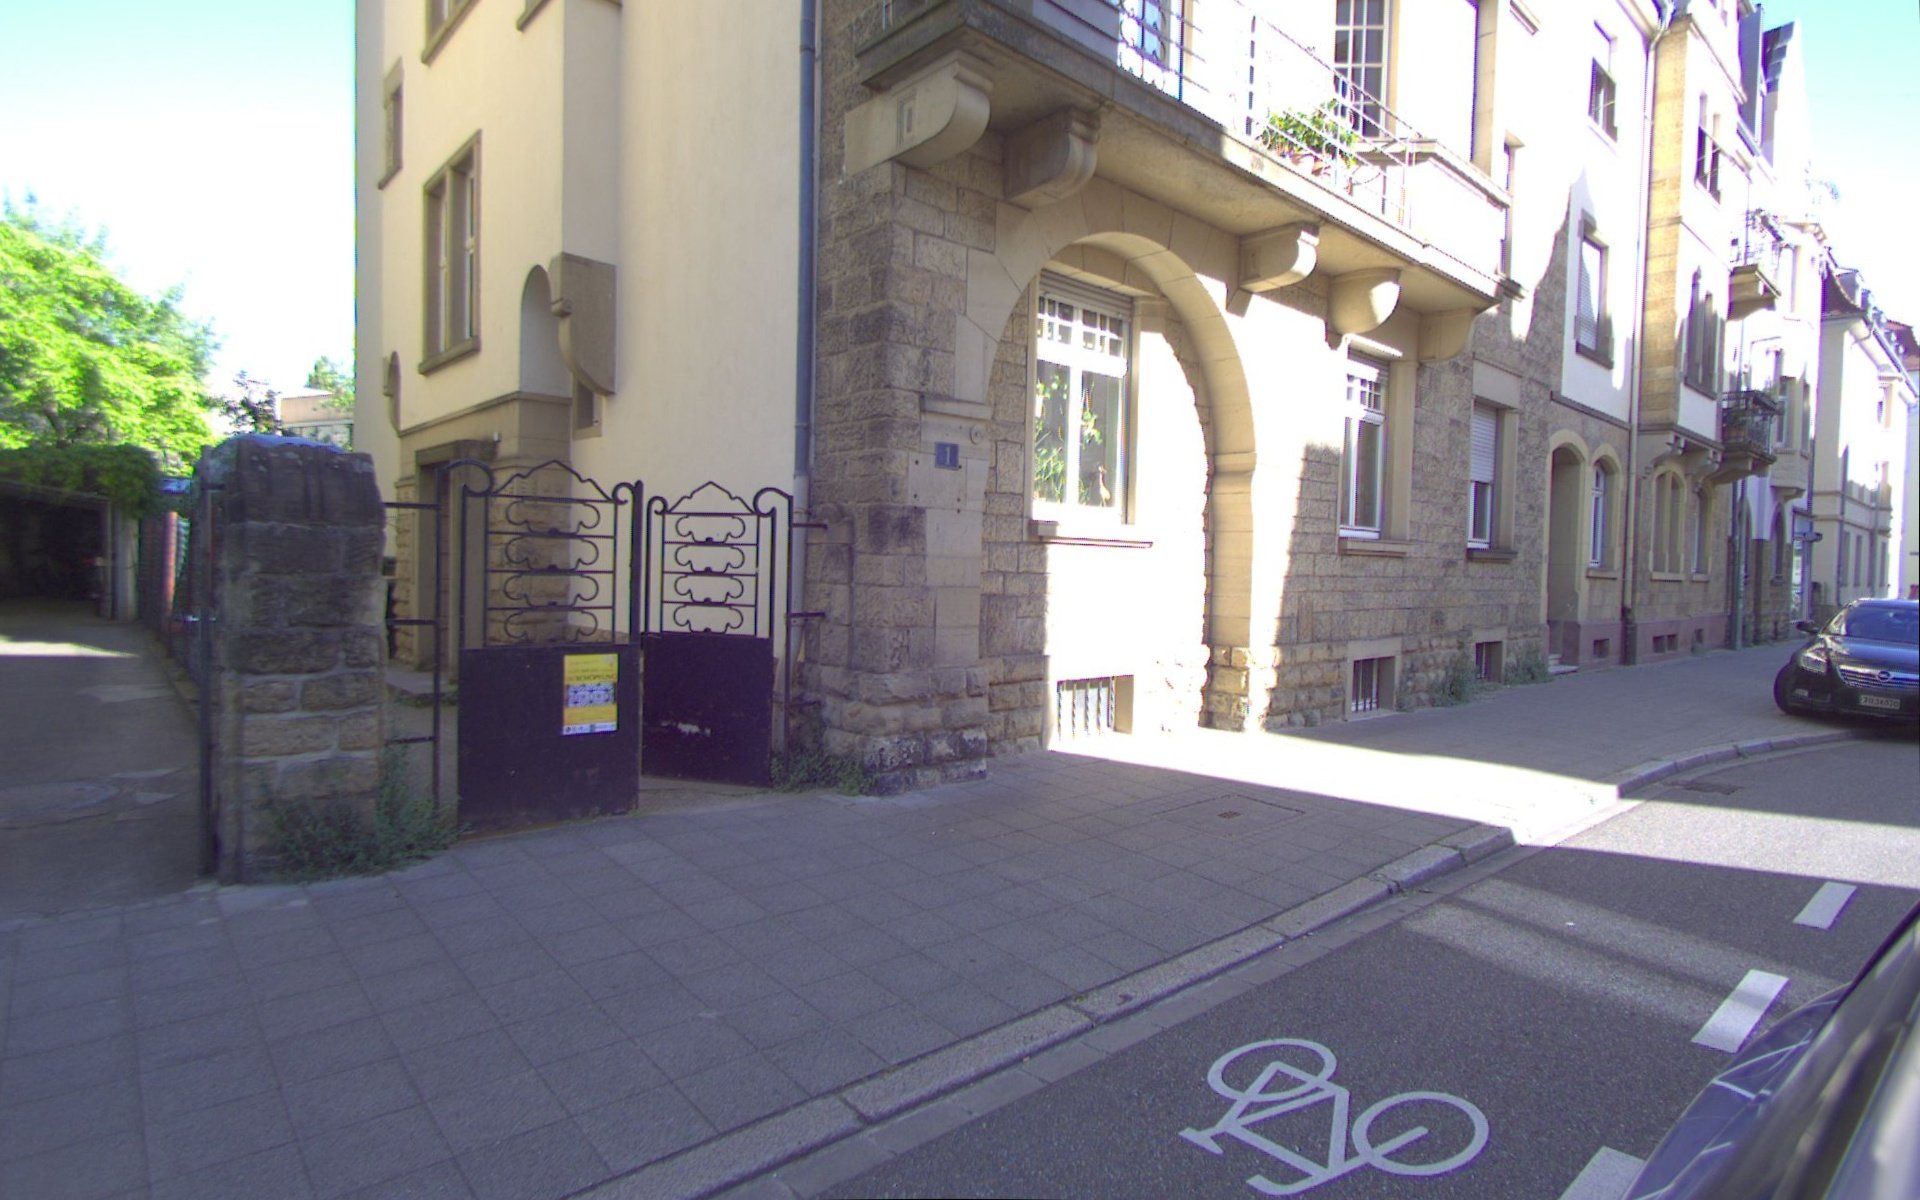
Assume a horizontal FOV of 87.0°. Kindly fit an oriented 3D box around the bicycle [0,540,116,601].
[{"bbox_3d":[-18.355,-0.616,20.461,2.834,1.124,0.865,3,2,25],"label":"bicycle"}]

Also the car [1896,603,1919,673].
[{"bbox_3d":[19.412,0.712,19.557,3.875,1.270,1.694,0,1,-43],"label":"car"}]

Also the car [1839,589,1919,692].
[{"bbox_3d":[15.509,0.596,16.231,4.186,1.460,1.654,0,3,-43],"label":"car"}]

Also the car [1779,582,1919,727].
[{"bbox_3d":[11.531,0.573,12.246,4.265,1.480,1.869,0,3,-42],"label":"car"}]

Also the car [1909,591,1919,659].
[{"bbox_3d":[22.383,0.565,22.486,1.787,1.447,3.746,3,2,44],"label":"car"}]
